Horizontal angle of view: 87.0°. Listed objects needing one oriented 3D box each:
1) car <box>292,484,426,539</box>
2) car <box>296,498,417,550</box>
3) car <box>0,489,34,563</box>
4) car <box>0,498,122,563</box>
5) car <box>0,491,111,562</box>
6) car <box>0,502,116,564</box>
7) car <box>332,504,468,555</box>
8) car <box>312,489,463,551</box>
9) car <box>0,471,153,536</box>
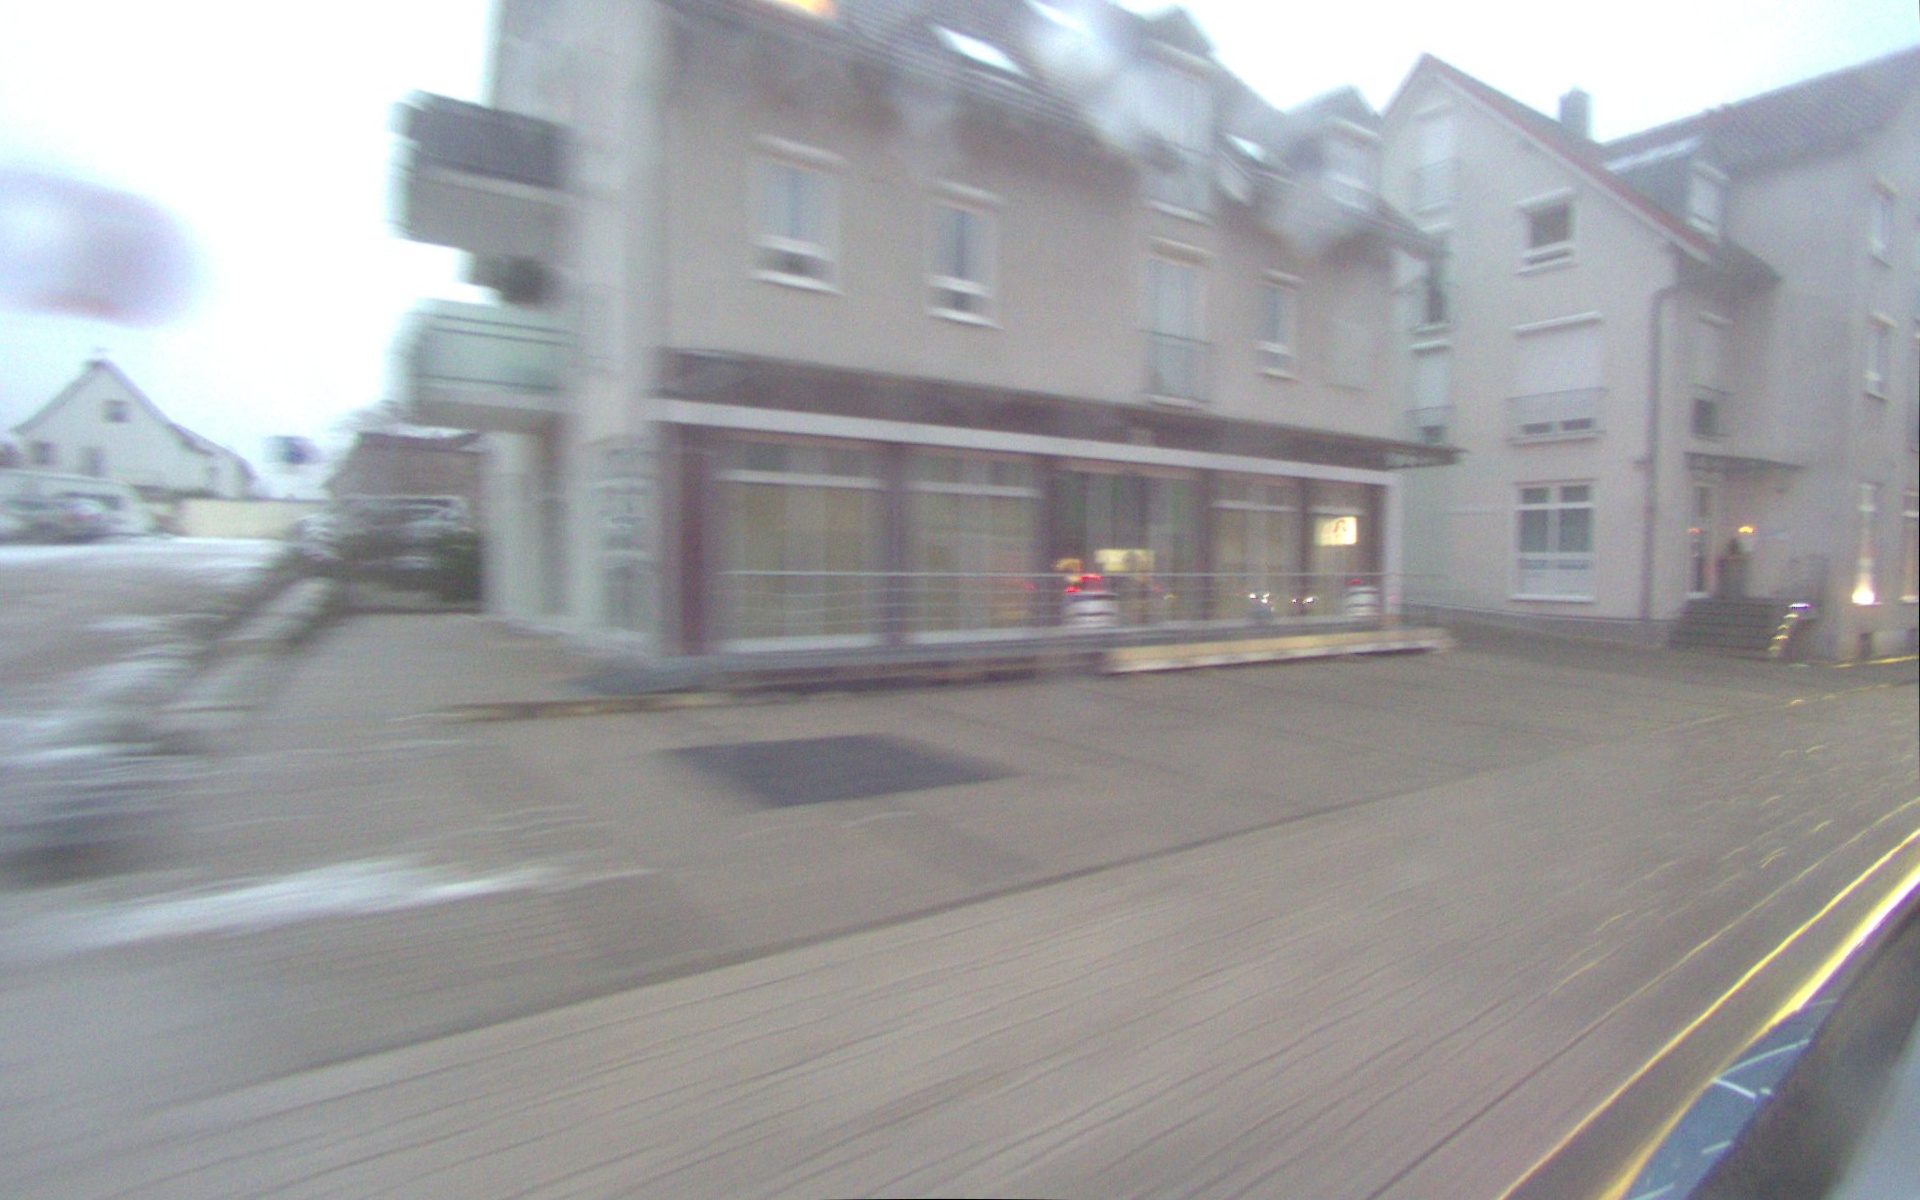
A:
[{"bbox_3d":[-27.563,-4.006,46.489,5.150,2.216,1.999,-1,1,-37],"label":"car"},{"bbox_3d":[-23.098,-2.862,38.878,3.920,1.795,2.002,0,1,-30],"label":"car"},{"bbox_3d":[-28.322,-2.105,27.769,3.919,2.038,2.003,0,3,-29],"label":"car"},{"bbox_3d":[-30.622,-2.311,33.665,3.919,2.038,2.003,0,3,-29],"label":"car"},{"bbox_3d":[-28.351,-2.247,30.740,3.930,2.038,1.998,0,4,-41],"label":"car"},{"bbox_3d":[-32.130,-2.344,35.397,3.927,2.038,2.000,0,3,-38],"label":"car"},{"bbox_3d":[-18.769,-2.329,34.000,3.920,1.503,2.002,0,1,-30],"label":"car"},{"bbox_3d":[-20.530,-2.815,36.437,4.637,1.982,2.002,0,1,-30],"label":"car"},{"bbox_3d":[-36.019,-3.865,40.989,5.176,2.276,1.999,-1,1,-38],"label":"car"}]
